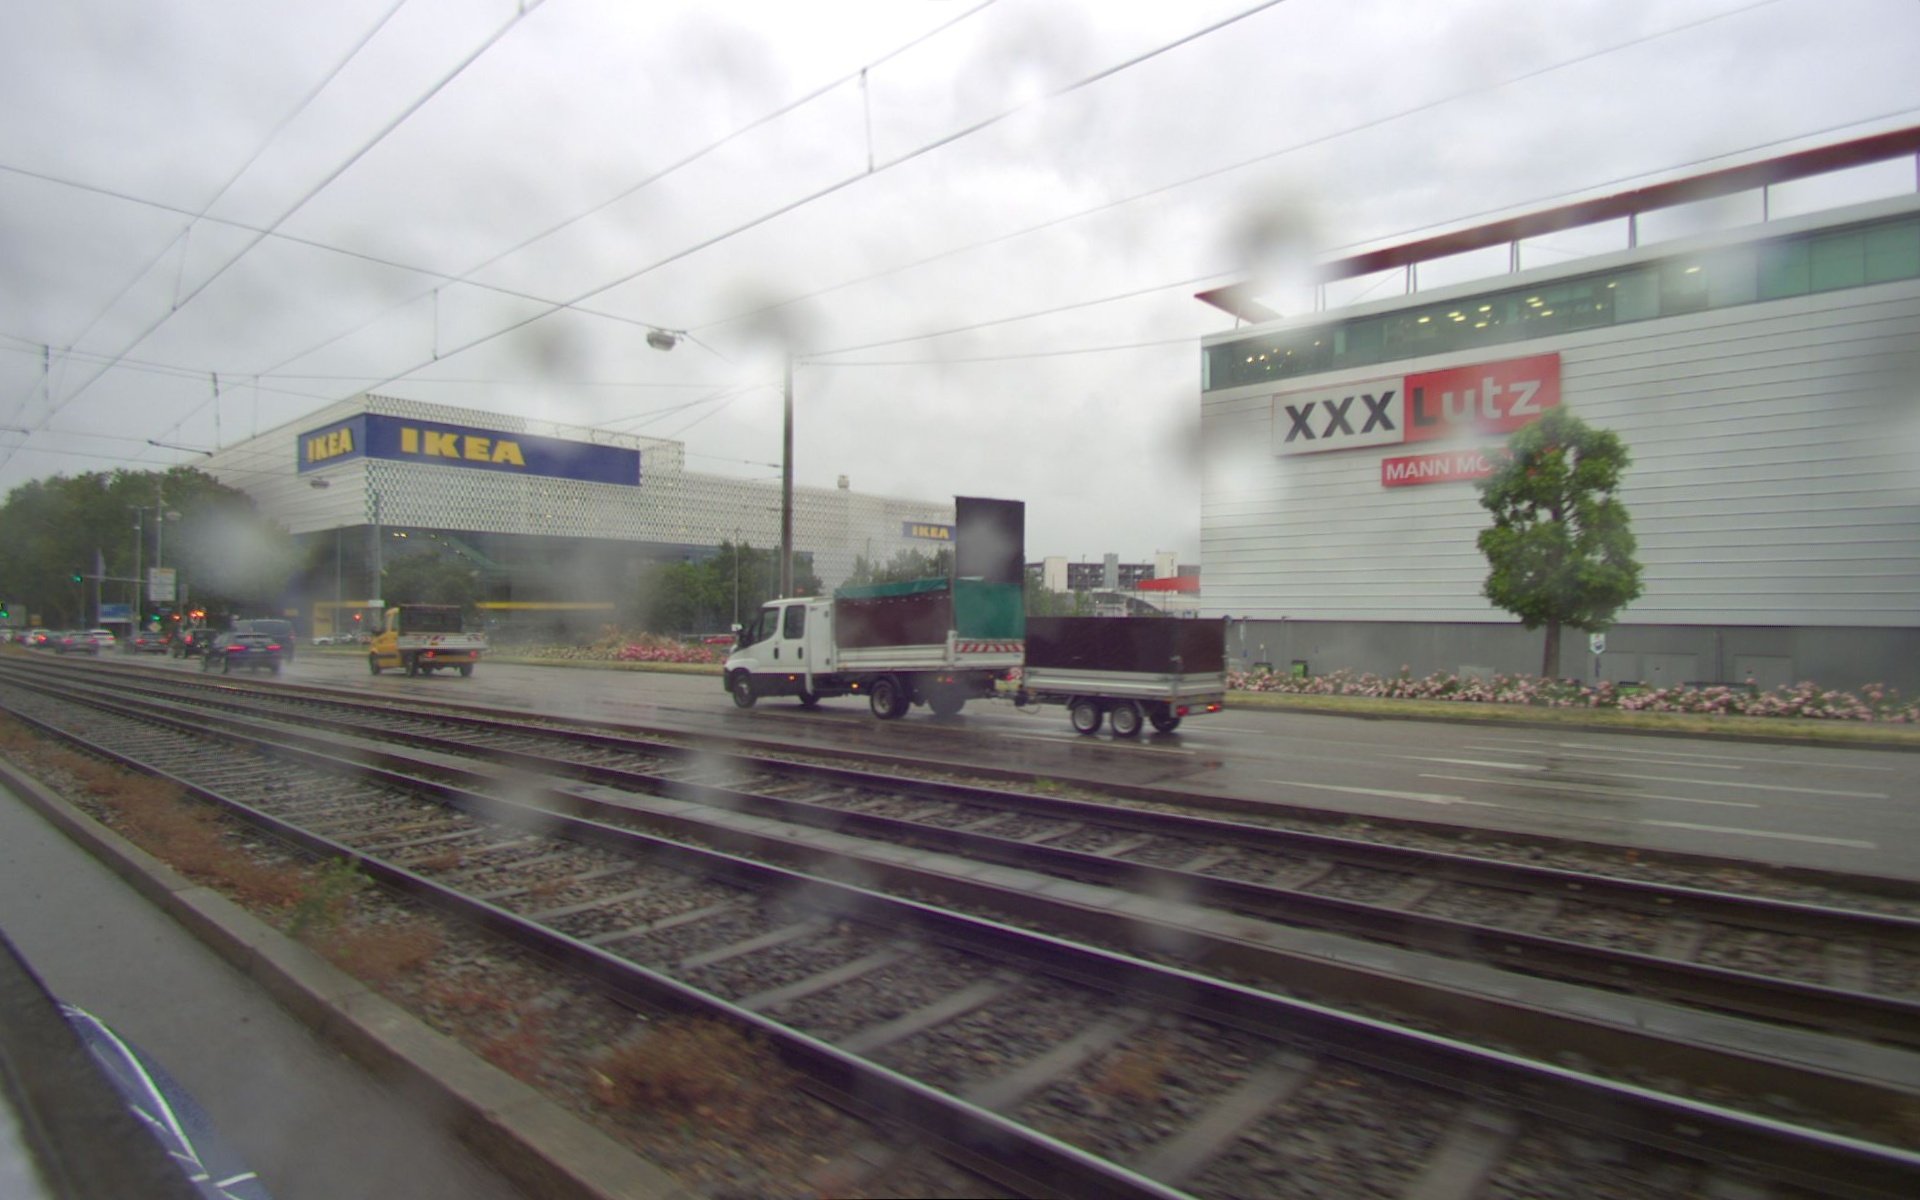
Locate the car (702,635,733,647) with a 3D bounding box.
[{"bbox_3d":[-33.970,5.720,141.955,1.602,1.417,3.930,-1,1,43],"label":"car"}]

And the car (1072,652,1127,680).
[{"bbox_3d":[11.258,5.324,81.764,3.995,2.029,1.974,-1,1,39],"label":"car"}]

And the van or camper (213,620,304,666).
[{"bbox_3d":[-32.912,1.971,47.434,5.685,2.029,2.280,-1,-2,42],"label":"van or camper"}]

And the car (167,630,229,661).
[{"bbox_3d":[-41.906,2.487,55.624,4.907,1.630,1.838,-1,-3,43],"label":"car"}]

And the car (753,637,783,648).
[{"bbox_3d":[-28.217,6.215,148.513,1.710,1.417,4.108,-1,1,43],"label":"car"}]

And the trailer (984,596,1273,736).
[{"bbox_3d":[2.521,0.913,15.547,3.835,1.806,2.097,-1,1,42],"label":"trailer"}]

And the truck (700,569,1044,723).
[{"bbox_3d":[-1.956,0.835,19.656,7.217,2.476,2.409,-1,-3,42],"label":"truck"}]

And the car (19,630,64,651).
[{"bbox_3d":[-69.685,3.049,76.762,4.670,1.468,1.972,-1,-3,41],"label":"car"}]

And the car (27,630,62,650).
[{"bbox_3d":[-80.771,3.531,89.273,4.327,1.585,1.853,-3,-1,43],"label":"car"}]

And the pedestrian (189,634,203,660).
[{"bbox_3d":[-70.064,4.293,92.784,0.906,2.261,0.992,-3,3,-36],"label":"pedestrian"}]

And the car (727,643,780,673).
[{"bbox_3d":[-10.842,3.028,53.180,2.690,1.386,1.250,-1,1,38],"label":"car"}]

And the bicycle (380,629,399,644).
[{"bbox_3d":[-41.026,2.594,72.813,1.555,1.023,0.661,-1,1,41],"label":"bicycle"}]

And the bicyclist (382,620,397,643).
[{"bbox_3d":[-41.058,2.282,72.826,0.791,1.601,0.664,-1,1,41],"label":"bicyclist"}]

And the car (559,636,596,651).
[{"bbox_3d":[-47.490,5.380,125.803,1.682,1.686,3.957,-1,1,43],"label":"car"}]

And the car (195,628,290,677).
[{"bbox_3d":[-26.004,1.837,36.620,4.534,1.635,1.800,-1,-1,41],"label":"car"}]

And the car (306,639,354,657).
[{"bbox_3d":[-66.025,5.032,106.128,1.760,1.630,3.962,-1,1,43],"label":"car"}]

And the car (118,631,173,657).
[{"bbox_3d":[-51.914,2.791,64.469,4.552,1.528,1.943,-1,-3,41],"label":"car"}]

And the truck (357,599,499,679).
[{"bbox_3d":[-18.092,1.291,34.249,6.064,2.480,2.203,-1,-3,42],"label":"truck"}]

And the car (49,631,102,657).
[{"bbox_3d":[-54.993,2.703,62.911,4.687,1.505,1.839,-1,-2,41],"label":"car"}]

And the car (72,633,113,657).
[{"bbox_3d":[-71.143,3.673,83.012,4.692,1.848,1.972,-1,-1,42],"label":"car"}]

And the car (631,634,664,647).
[{"bbox_3d":[-41.059,5.326,132.931,1.602,1.417,3.771,-1,1,43],"label":"car"}]

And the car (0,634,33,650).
[{"bbox_3d":[-91.662,4.100,98.323,5.082,1.434,1.902,-3,-6,42],"label":"car"}]
